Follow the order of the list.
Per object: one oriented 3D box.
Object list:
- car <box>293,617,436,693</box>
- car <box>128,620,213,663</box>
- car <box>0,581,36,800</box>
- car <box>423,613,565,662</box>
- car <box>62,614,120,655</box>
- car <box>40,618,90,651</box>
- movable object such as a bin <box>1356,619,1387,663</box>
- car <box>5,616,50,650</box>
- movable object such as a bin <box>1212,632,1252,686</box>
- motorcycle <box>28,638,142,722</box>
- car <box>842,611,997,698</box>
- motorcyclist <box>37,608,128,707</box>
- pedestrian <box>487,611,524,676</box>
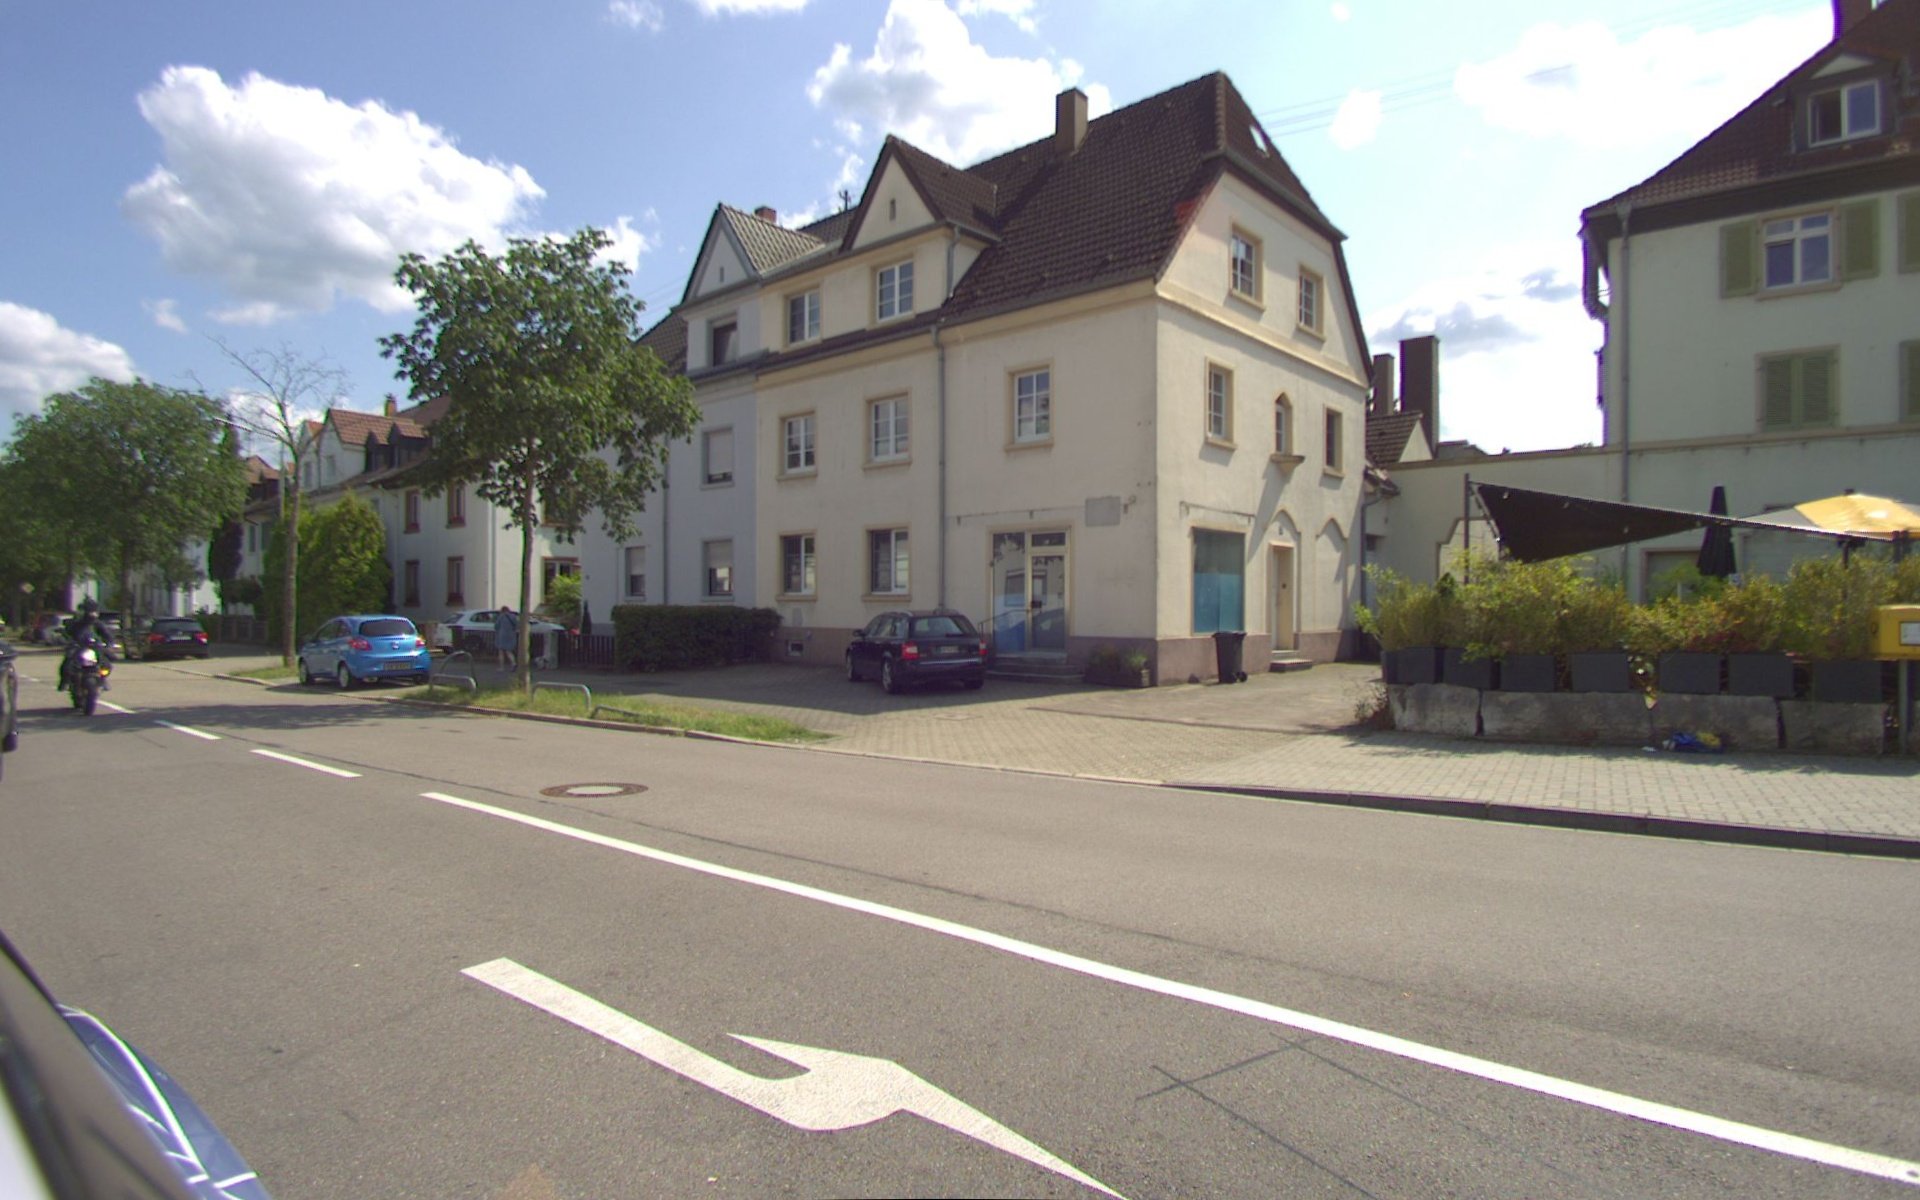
[{"bbox_3d":[-12.514,1.095,21.223,3.153,1.473,1.687,-1,-1,41],"label":"car"},{"bbox_3d":[-25.837,1.320,33.077,3.919,1.306,1.686,-1,-1,45],"label":"car"},{"bbox_3d":[-10.040,0.764,9.335,4.873,1.777,1.753,-1,-1,42],"label":"car"},{"bbox_3d":[-14.843,1.156,32.343,1.711,1.465,3.753,-1,-1,44],"label":"car"},{"bbox_3d":[-36.308,1.410,42.279,3.575,1.667,1.541,-1,-2,45],"label":"car"},{"bbox_3d":[-40.873,1.556,46.202,1.601,1.436,3.004,0,-1,-43],"label":"car"},{"bbox_3d":[9.993,0.989,24.577,0.510,1.053,0.607,-1,-2,41],"label":"movable object such as a bin"},{"bbox_3d":[-47.852,1.687,51.942,3.252,1.667,1.541,-1,-2,45],"label":"car"},{"bbox_3d":[5.116,1.099,19.036,0.510,0.979,0.607,-1,-2,41],"label":"movable object such as a bin"},{"bbox_3d":[-13.119,1.149,15.143,2.355,1.136,0.833,-1,-1,38],"label":"motorcycle"},{"bbox_3d":[-0.866,0.914,18.543,1.732,1.397,4.115,0,-1,-19],"label":"car"},{"bbox_3d":[-13.204,0.856,15.221,1.098,1.409,0.815,-4,-2,38],"label":"motorcyclist"},{"bbox_3d":[-10.880,1.029,24.214,0.618,1.547,0.623,-1,-2,43],"label":"pedestrian"}]
